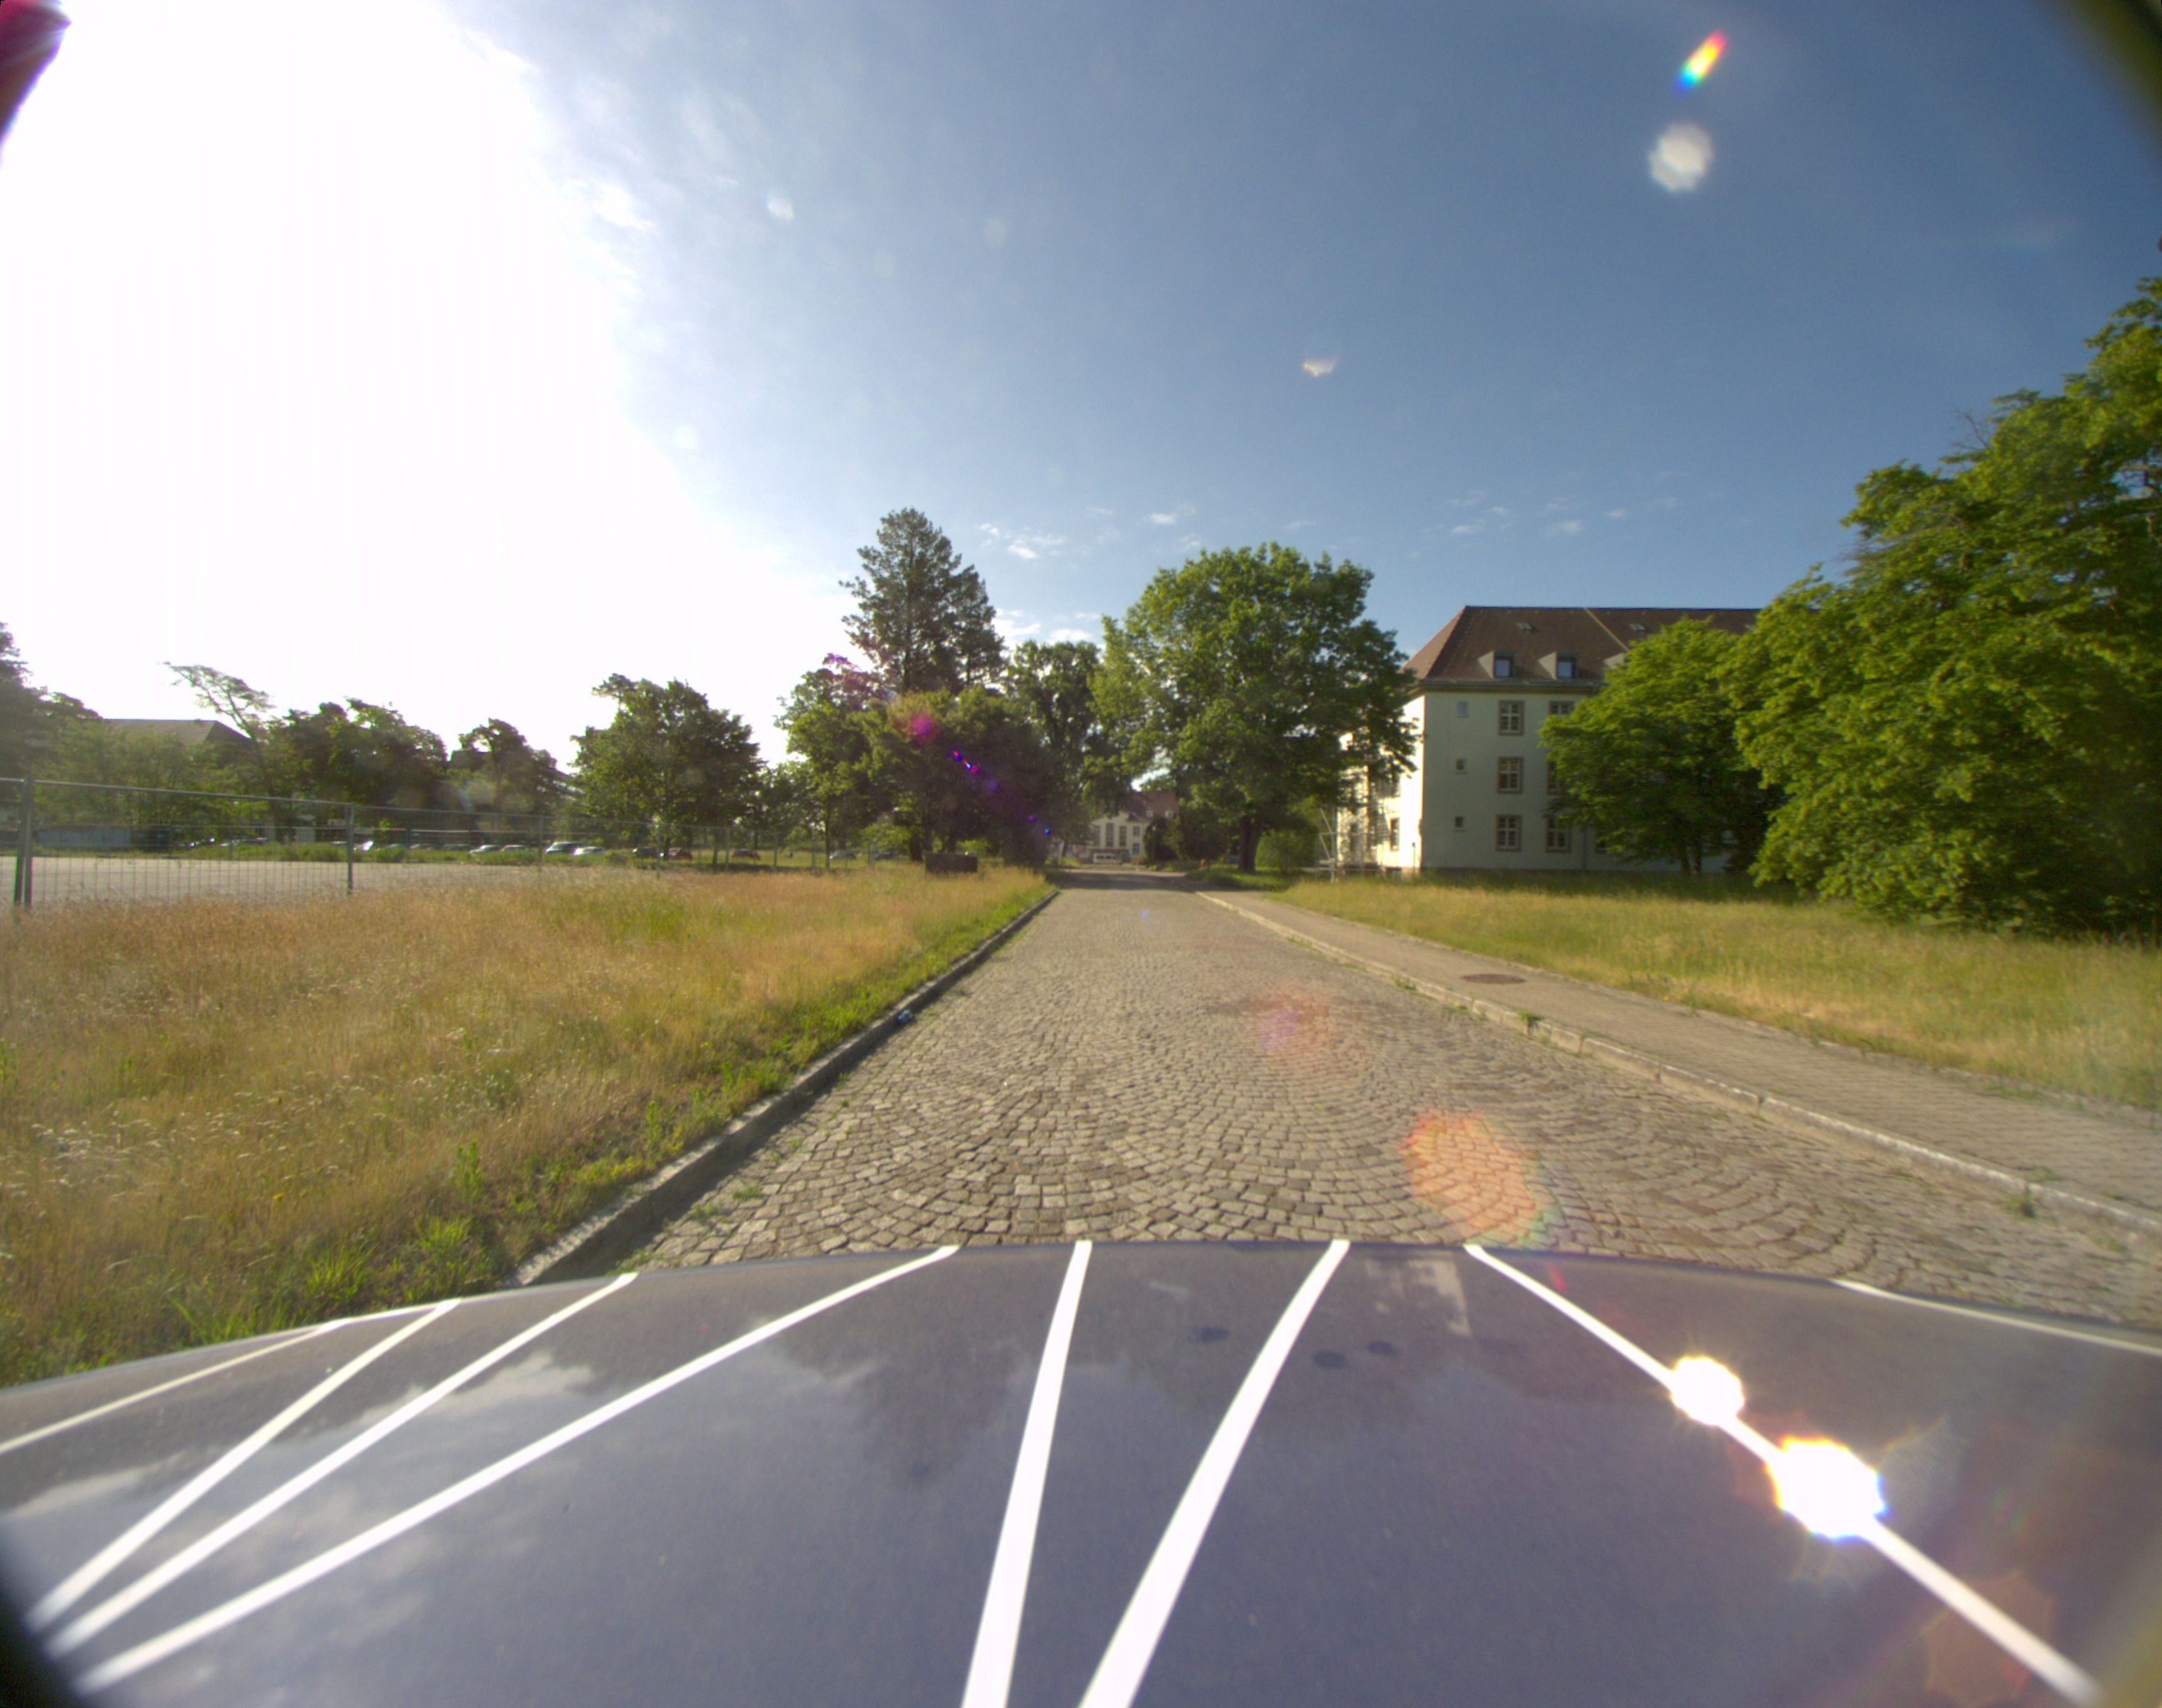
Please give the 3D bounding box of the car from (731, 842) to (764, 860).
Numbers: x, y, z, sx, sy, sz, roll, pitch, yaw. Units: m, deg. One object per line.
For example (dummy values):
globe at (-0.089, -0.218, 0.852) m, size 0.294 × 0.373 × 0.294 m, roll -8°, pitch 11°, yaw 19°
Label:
car at (-34.886, -0.284, 79.597) m, size 1.999 × 1.805 × 3.998 m, roll 1°, pitch 0°, yaw -5°

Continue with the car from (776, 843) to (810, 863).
car at (-30.236, -0.119, 79.852) m, size 1.999 × 2.002 × 3.999 m, roll 1°, pitch 0°, yaw -1°

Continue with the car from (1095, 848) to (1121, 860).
car at (5.006, -0.005, 140.456) m, size 4.869 × 2.083 × 2.000 m, roll 1°, pitch 1°, yaw 1°

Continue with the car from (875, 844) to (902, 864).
car at (-19.882, 0.031, 78.694) m, size 1.999 × 2.002 × 3.998 m, roll 1°, pitch 0°, yaw -5°

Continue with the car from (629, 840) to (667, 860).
car at (-45.311, -0.392, 79.653) m, size 2.000 × 2.002 × 3.997 m, roll 1°, pitch 0°, yaw -7°

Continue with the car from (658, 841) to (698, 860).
car at (-42.348, -0.363, 79.888) m, size 1.998 × 2.002 × 4.000 m, roll 1°, pitch 0°, yaw 0°

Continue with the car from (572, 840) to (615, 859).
car at (-51.430, -0.494, 80.287) m, size 1.999 × 1.936 × 3.999 m, roll 1°, pitch 0°, yaw -1°

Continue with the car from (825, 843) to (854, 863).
car at (-25.050, -0.084, 79.072) m, size 1.999 × 2.002 × 3.998 m, roll 1°, pitch 0°, yaw -5°

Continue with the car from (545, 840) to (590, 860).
car at (-53.905, -0.460, 79.822) m, size 1.999 × 2.002 × 3.999 m, roll 1°, pitch 0°, yaw -1°

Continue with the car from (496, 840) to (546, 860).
car at (-59.224, -0.461, 80.420) m, size 1.997 × 2.002 × 4.002 m, roll -2°, pitch 1°, yaw 8°
